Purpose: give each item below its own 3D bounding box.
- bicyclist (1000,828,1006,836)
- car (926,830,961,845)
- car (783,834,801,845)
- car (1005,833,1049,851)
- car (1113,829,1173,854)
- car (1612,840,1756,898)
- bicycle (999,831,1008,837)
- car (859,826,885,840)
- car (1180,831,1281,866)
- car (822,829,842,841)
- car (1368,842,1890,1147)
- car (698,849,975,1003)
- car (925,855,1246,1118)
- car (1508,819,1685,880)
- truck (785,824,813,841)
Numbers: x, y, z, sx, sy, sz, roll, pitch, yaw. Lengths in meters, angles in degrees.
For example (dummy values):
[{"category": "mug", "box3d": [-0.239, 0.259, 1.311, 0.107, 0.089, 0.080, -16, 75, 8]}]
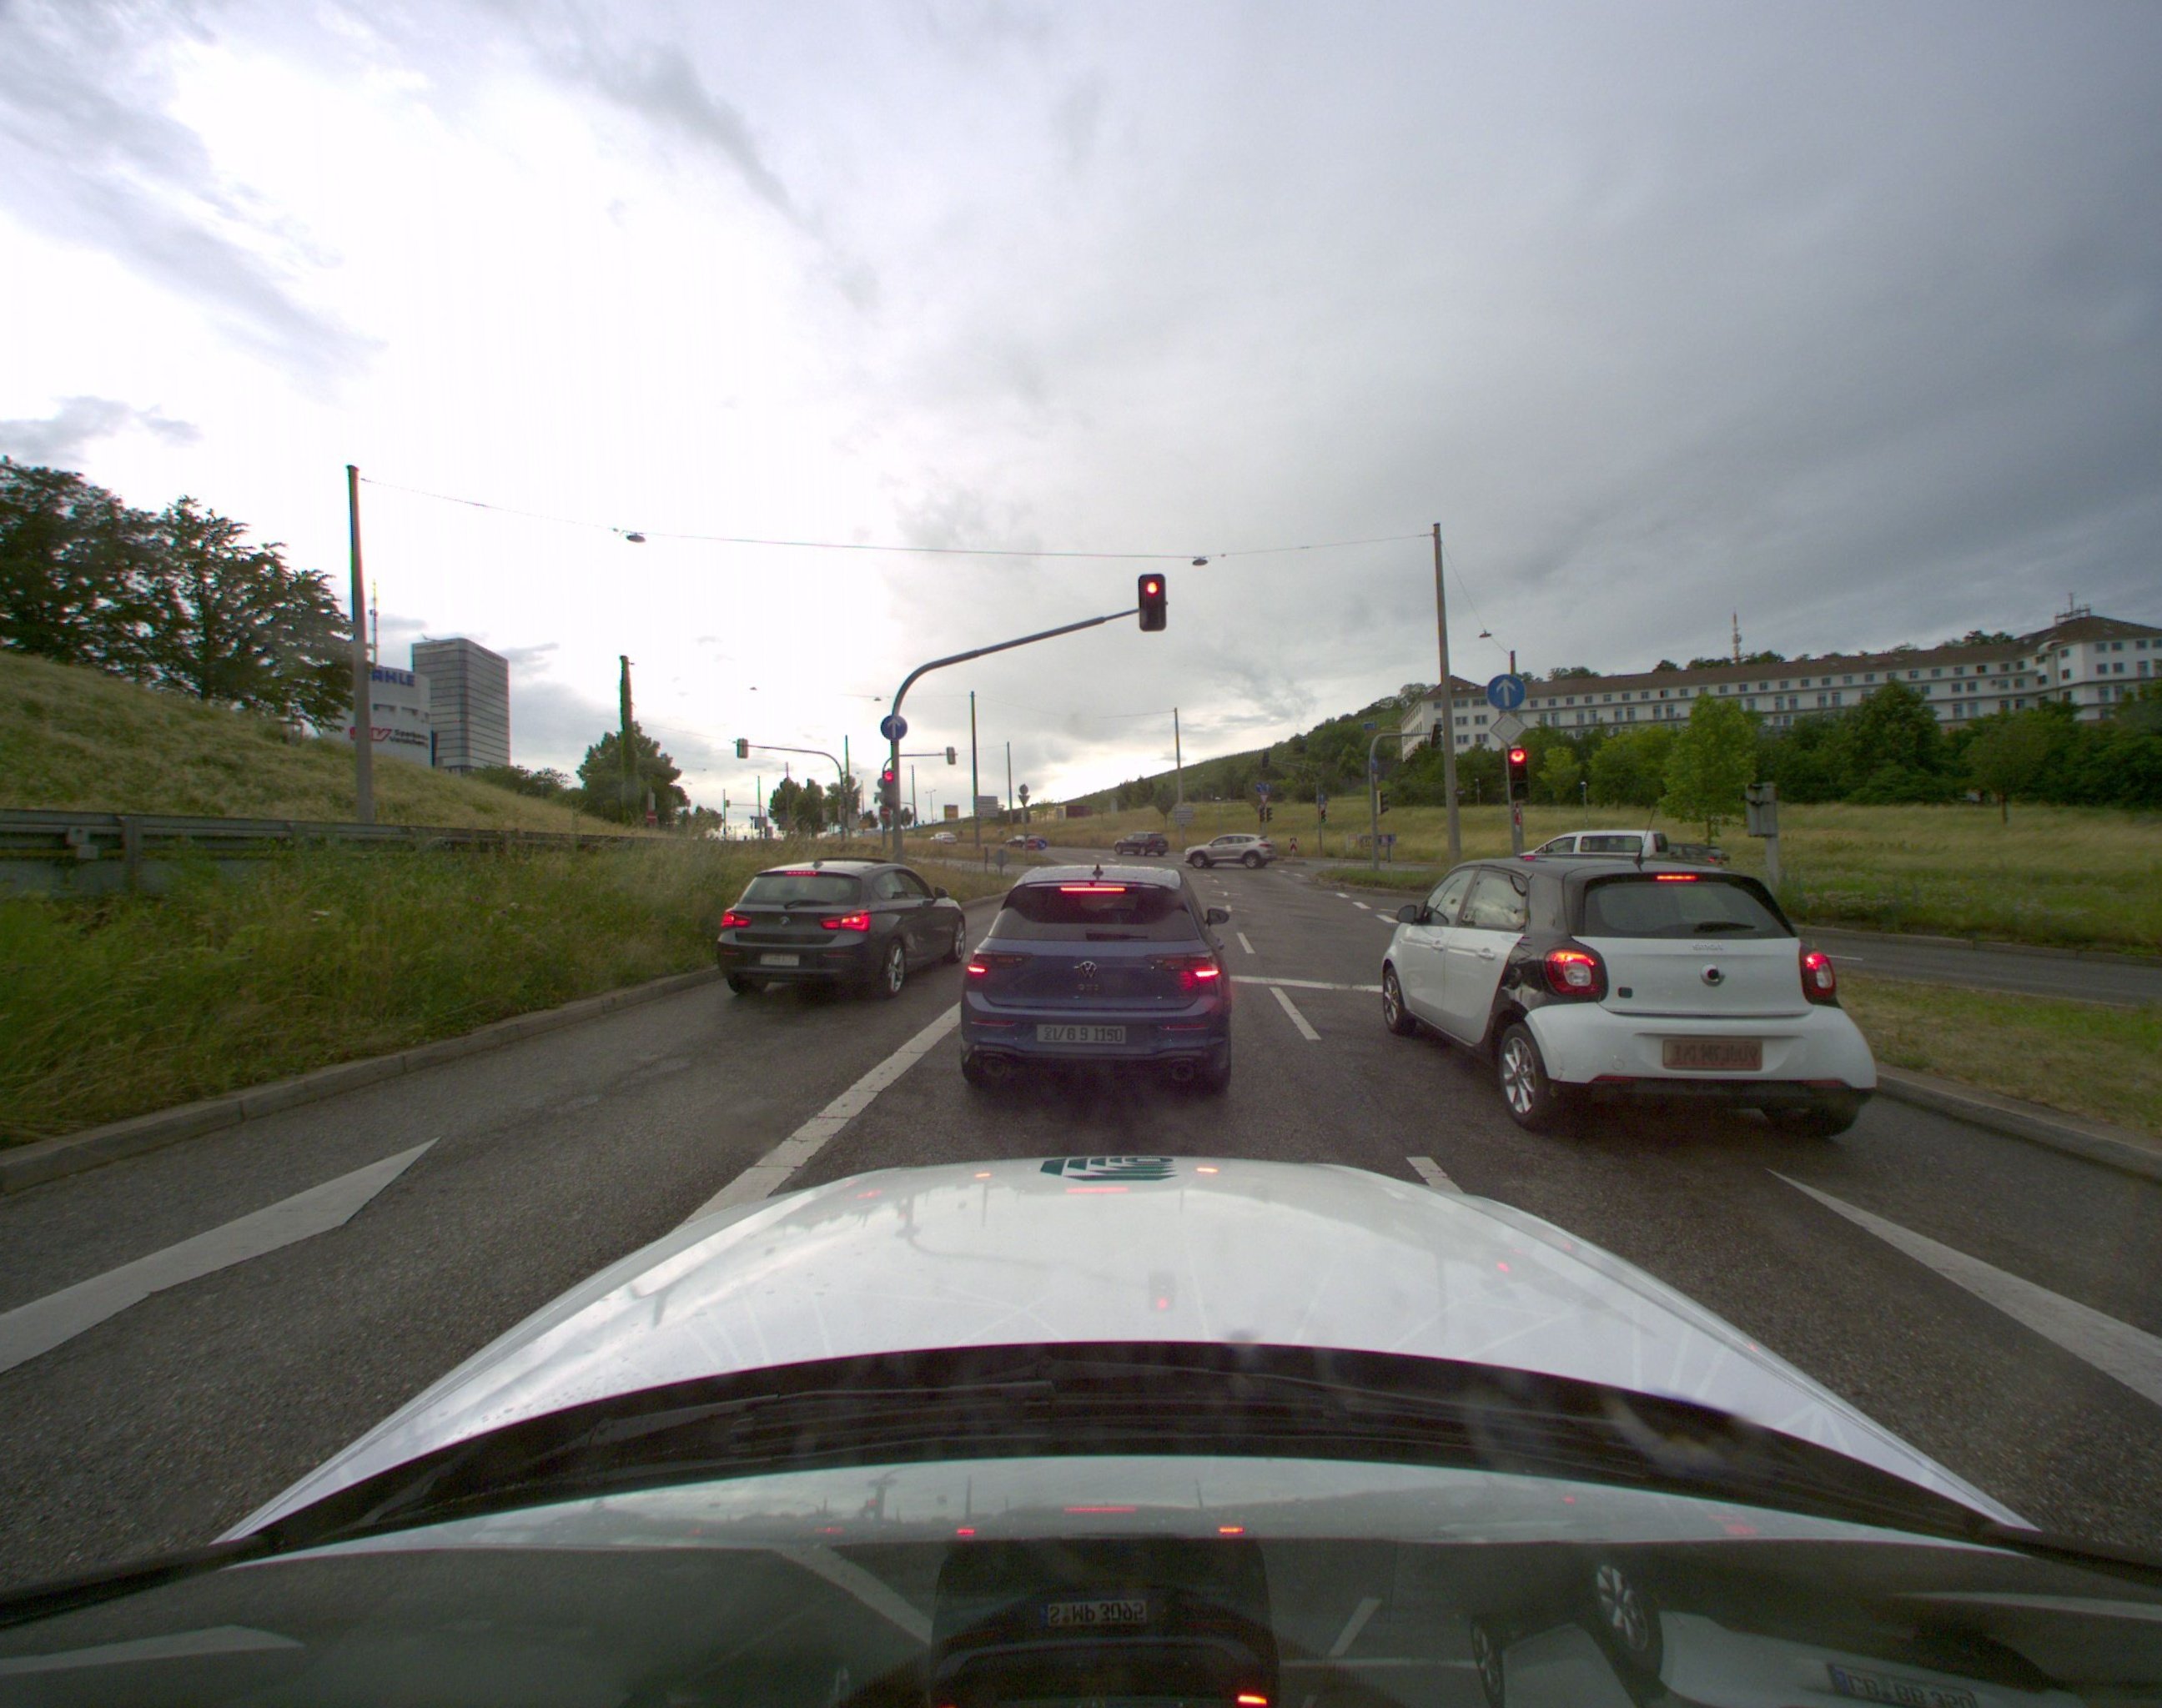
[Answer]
[{"category": "bicyclist", "box3d": [-10.034, -2.855, 104.824, 0.526, 1.046, 0.575, 2, 0, -30]}, {"category": "car", "box3d": [-14.965, -1.768, 88.415, 2.008, 1.477, 4.373, 0, -1, -35]}, {"category": "car", "box3d": [-51.846, -2.576, 146.050, 2.008, 1.659, 4.308, 0, -1, -33]}, {"category": "car", "box3d": [-4.903, -1.072, 72.841, 2.008, 1.477, 4.455, 0, -1, -33]}, {"category": "car", "box3d": [4.377, -0.862, 58.025, 2.008, 1.637, 4.373, 0, -1, -35]}, {"category": "car", "box3d": [22.569, 0.561, 30.603, 2.010, 2.014, 3.954, 0, -1, -38]}, {"category": "bicycle", "box3d": [-9.973, -2.531, 104.723, 0.521, 0.775, 1.605, 2, 0, -31]}, {"category": "car", "box3d": [-28.797, -2.850, 112.349, 2.143, 1.794, 4.692, 0, -1, -32]}, {"category": "car", "box3d": [7.358, -0.225, 40.184, 4.467, 1.620, 2.012, -1, -1, 28]}, {"category": "car", "box3d": [-40.583, -3.059, 132.750, 2.008, 1.659, 4.497, 0, -1, -33]}, {"category": "car", "box3d": [3.332, 0.724, 5.813, 1.649, 1.503, 3.456, -1, -1, 6]}, {"category": "car", "box3d": [-2.638, 0.726, 9.871, 1.694, 1.460, 4.121, -1, -1, 7]}, {"category": "car", "box3d": [0.247, 0.752, 6.532, 1.815, 1.460, 3.816, -1, 0, 7]}, {"category": "car", "box3d": [16.985, -0.093, 27.023, 1.832, 1.850, 4.641, 0, -1, -42]}, {"category": "truck", "box3d": [-53.773, -4.150, 155.187, 3.281, 3.074, 6.111, 2, 0, -35]}]
